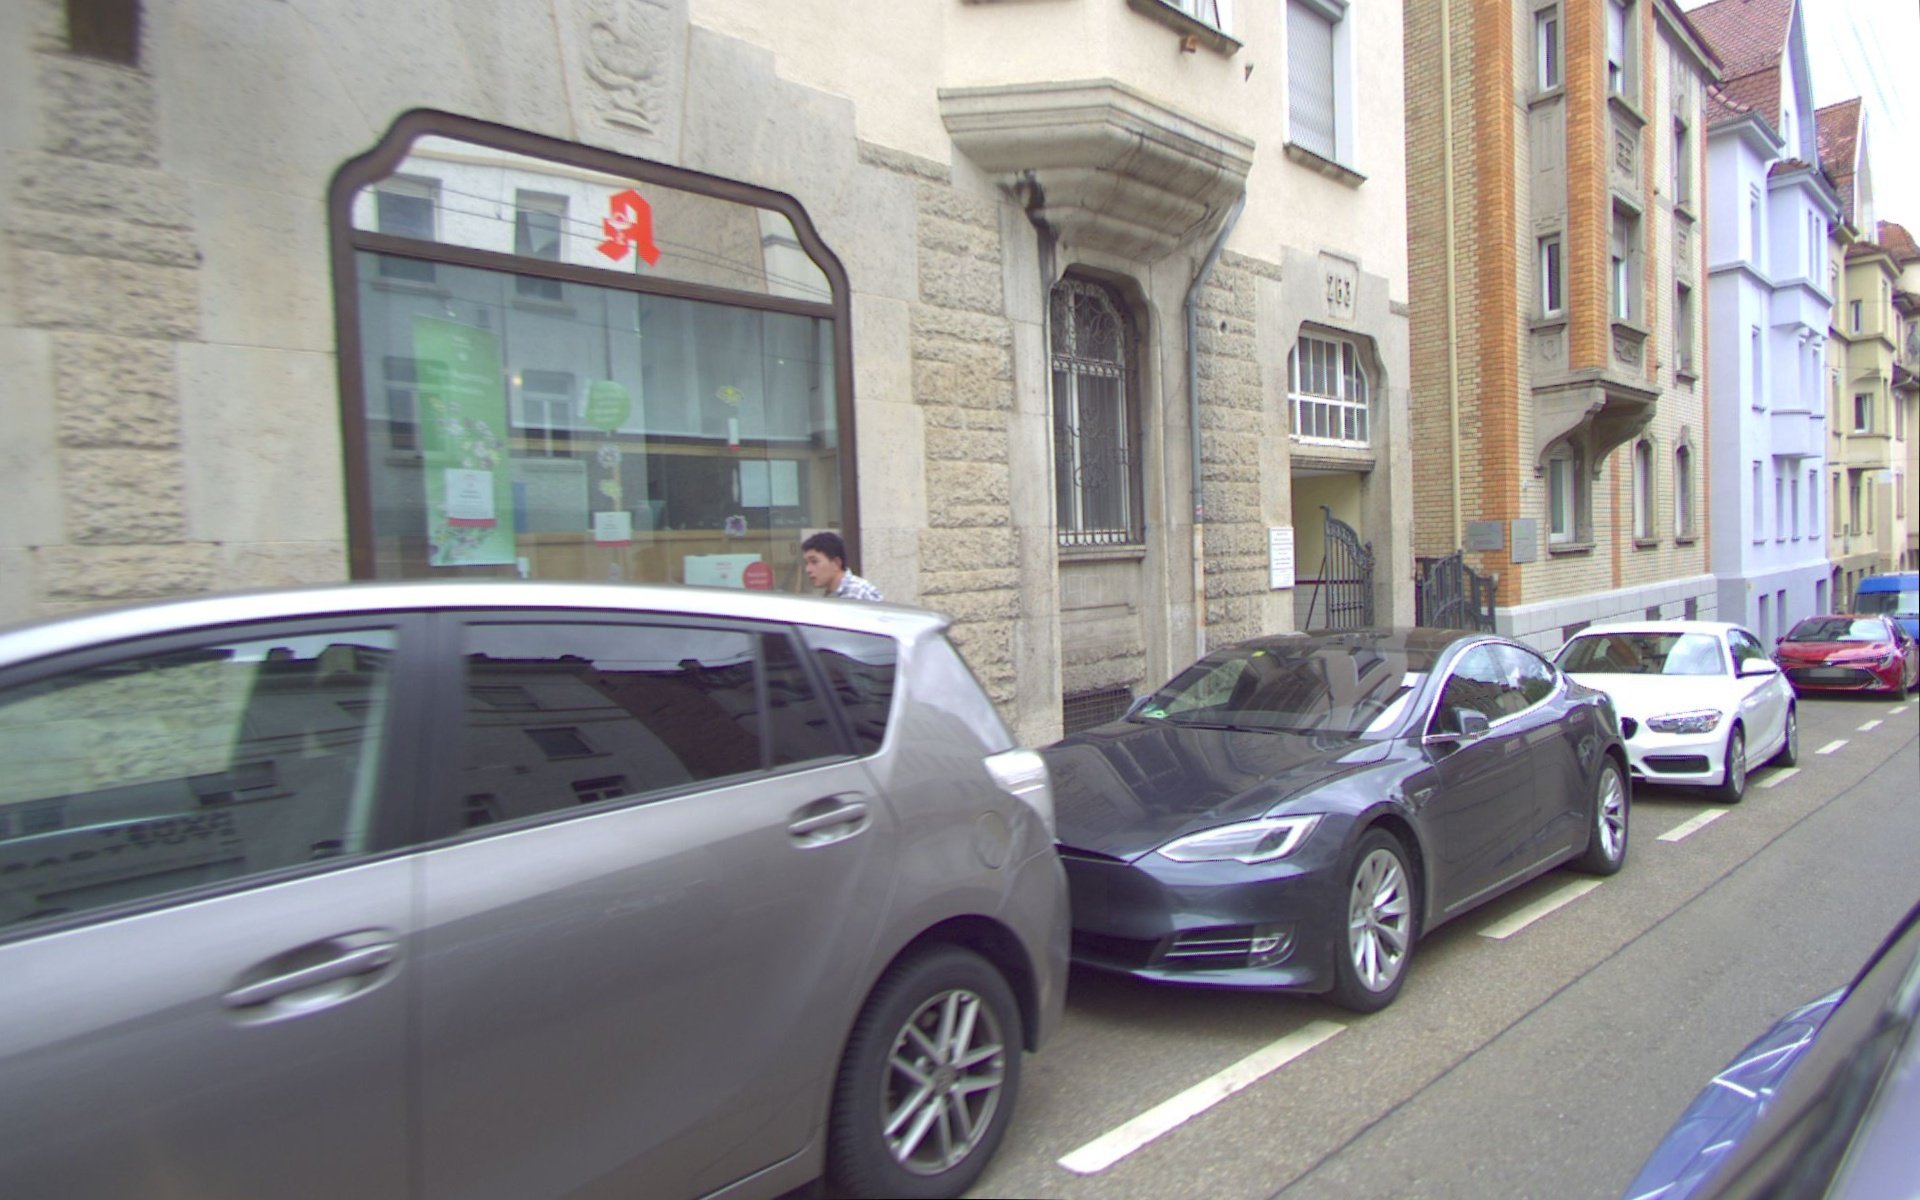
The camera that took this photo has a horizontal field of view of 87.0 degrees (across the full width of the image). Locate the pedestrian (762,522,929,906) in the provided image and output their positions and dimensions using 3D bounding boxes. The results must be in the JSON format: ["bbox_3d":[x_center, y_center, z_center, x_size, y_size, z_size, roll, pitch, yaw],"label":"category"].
[{"bbox_3d":[-0.597,0.537,5.250,0.621,1.826,0.600,0,0,-41],"label":"pedestrian"}]

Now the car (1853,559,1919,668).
[{"bbox_3d":[22.912,0.271,23.986,4.968,2.406,1.997,-1,0,-41],"label":"car"}]

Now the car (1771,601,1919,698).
[{"bbox_3d":[15.971,0.787,17.877,4.510,1.494,1.782,0,-2,-41],"label":"car"}]

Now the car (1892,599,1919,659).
[{"bbox_3d":[26.717,0.728,27.353,4.120,1.550,1.781,0,-3,-42],"label":"car"}]

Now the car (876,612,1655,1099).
[{"bbox_3d":[1.939,0.818,5.307,4.612,1.408,1.781,0,-2,-42],"label":"car"}]

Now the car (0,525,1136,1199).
[{"bbox_3d":[-1.720,0.704,2.078,4.497,1.557,1.736,0,-2,-43],"label":"car"}]

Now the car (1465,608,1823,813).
[{"bbox_3d":[6.419,0.823,9.297,4.234,1.408,1.752,0,-2,-42],"label":"car"}]
